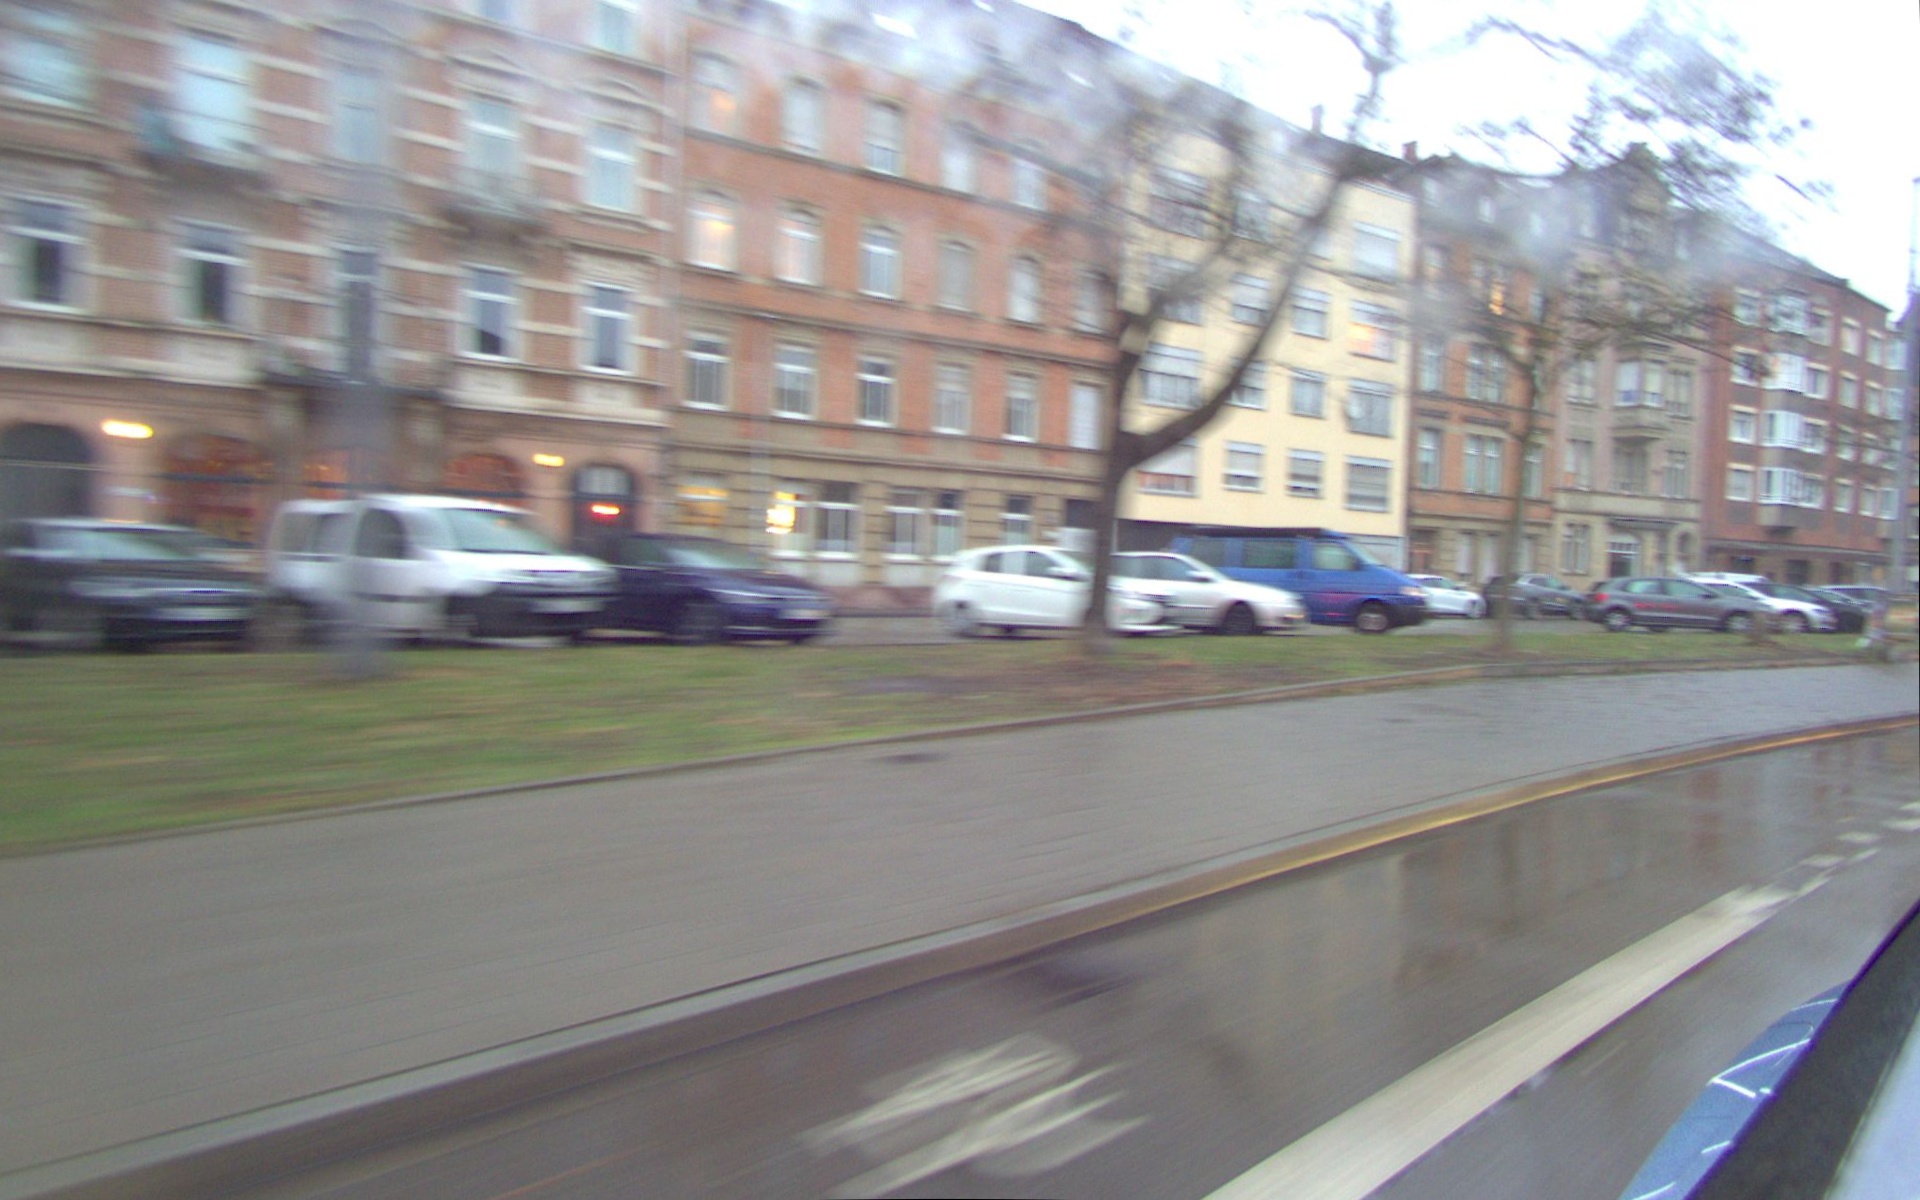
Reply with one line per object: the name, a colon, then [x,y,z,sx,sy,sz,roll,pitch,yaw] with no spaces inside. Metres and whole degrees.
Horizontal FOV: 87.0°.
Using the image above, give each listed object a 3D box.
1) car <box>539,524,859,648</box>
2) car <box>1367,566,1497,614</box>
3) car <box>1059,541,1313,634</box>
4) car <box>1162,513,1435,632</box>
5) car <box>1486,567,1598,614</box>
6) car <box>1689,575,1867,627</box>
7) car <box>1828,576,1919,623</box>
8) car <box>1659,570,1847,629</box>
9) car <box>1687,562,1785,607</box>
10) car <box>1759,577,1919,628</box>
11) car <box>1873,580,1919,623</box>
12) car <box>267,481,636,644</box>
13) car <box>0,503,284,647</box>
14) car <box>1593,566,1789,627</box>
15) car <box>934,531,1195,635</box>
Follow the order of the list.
car: [-3.449,-0.236,13.124,4.037,1.250,1.749,5,2,34]
car: [15.746,-0.344,33.756,4.092,1.496,1.755,-1,0,-27]
car: [3.835,-0.179,17.254,3.959,1.433,1.627,-1,0,26]
car: [6.296,-0.489,18.924,4.675,2.008,1.783,0,0,26]
car: [20.631,-0.324,35.850,3.791,1.562,1.477,0,2,-25]
car: [22.589,-0.002,28.082,3.748,1.348,1.579,0,1,39]
car: [28.388,-0.033,30.182,3.748,1.371,1.579,0,1,39]
car: [20.643,-0.067,26.490,3.749,1.349,1.579,3,3,39]
car: [31.480,-0.631,41.039,3.393,1.725,1.678,-1,0,-23]
car: [25.330,0.041,28.891,3.740,1.294,1.583,3,2,33]
car: [31.505,0.043,32.052,3.748,1.371,1.579,0,1,39]
car: [-6.130,-0.533,12.023,4.629,1.611,1.758,4,3,32]
car: [-9.254,-0.284,11.113,3.401,1.368,1.648,1,1,28]
car: [18.069,-0.080,25.221,3.848,1.424,1.674,-1,0,35]
car: [1.588,-0.241,15.937,3.752,1.450,1.738,0,0,37]
